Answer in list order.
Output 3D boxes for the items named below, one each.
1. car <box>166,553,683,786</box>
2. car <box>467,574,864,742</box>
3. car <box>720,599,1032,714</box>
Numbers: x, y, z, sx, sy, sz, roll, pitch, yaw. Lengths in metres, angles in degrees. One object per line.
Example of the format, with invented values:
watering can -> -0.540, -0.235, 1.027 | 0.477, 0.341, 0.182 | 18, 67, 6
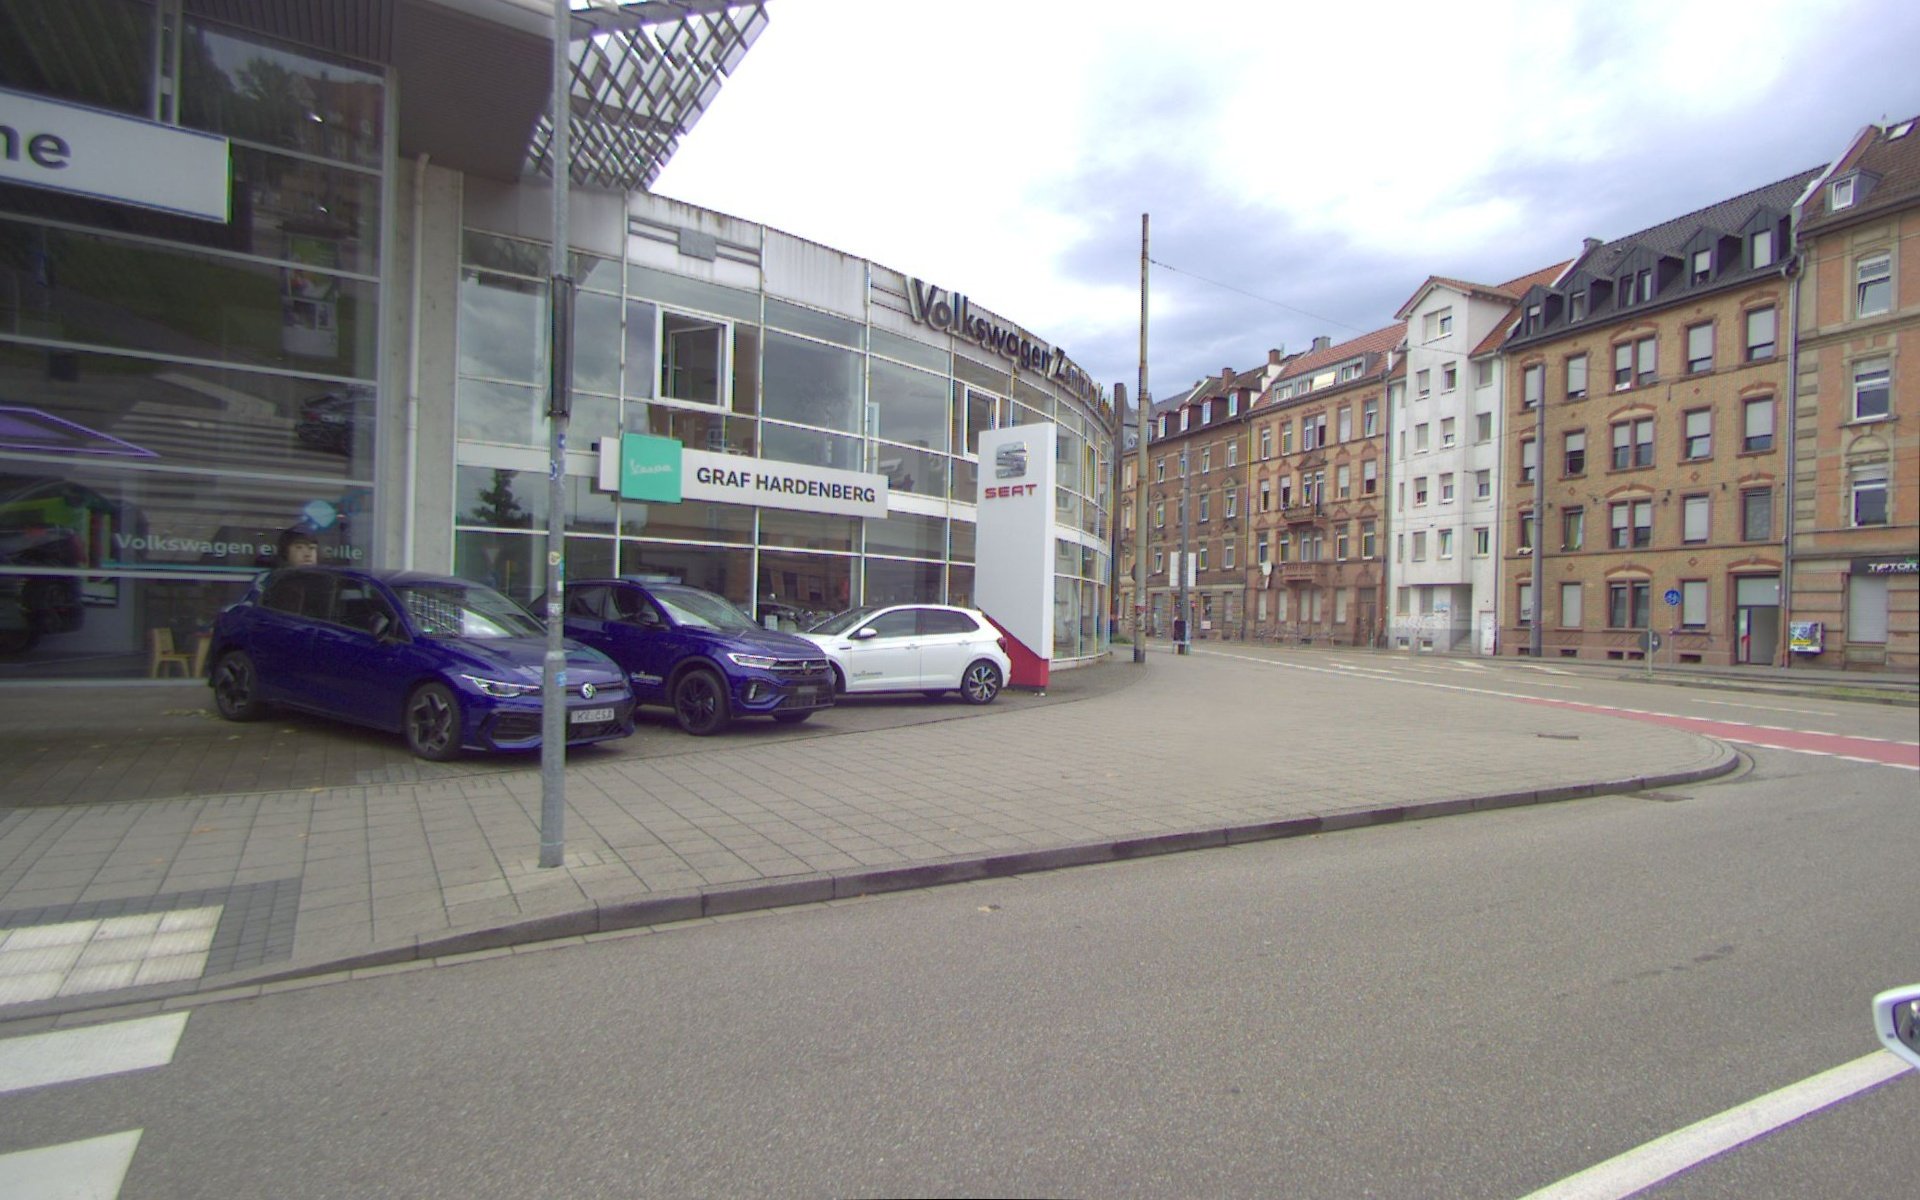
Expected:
car -> -4.873, 0.493, 9.135 | 4.256, 1.524, 1.857 | 4, 1, 24
car -> -3.398, 0.564, 11.556 | 4.141, 1.583, 1.900 | 2, 0, 26
car -> -1.187, 0.780, 14.689 | 4.212, 1.472, 1.769 | 2, -1, -30
